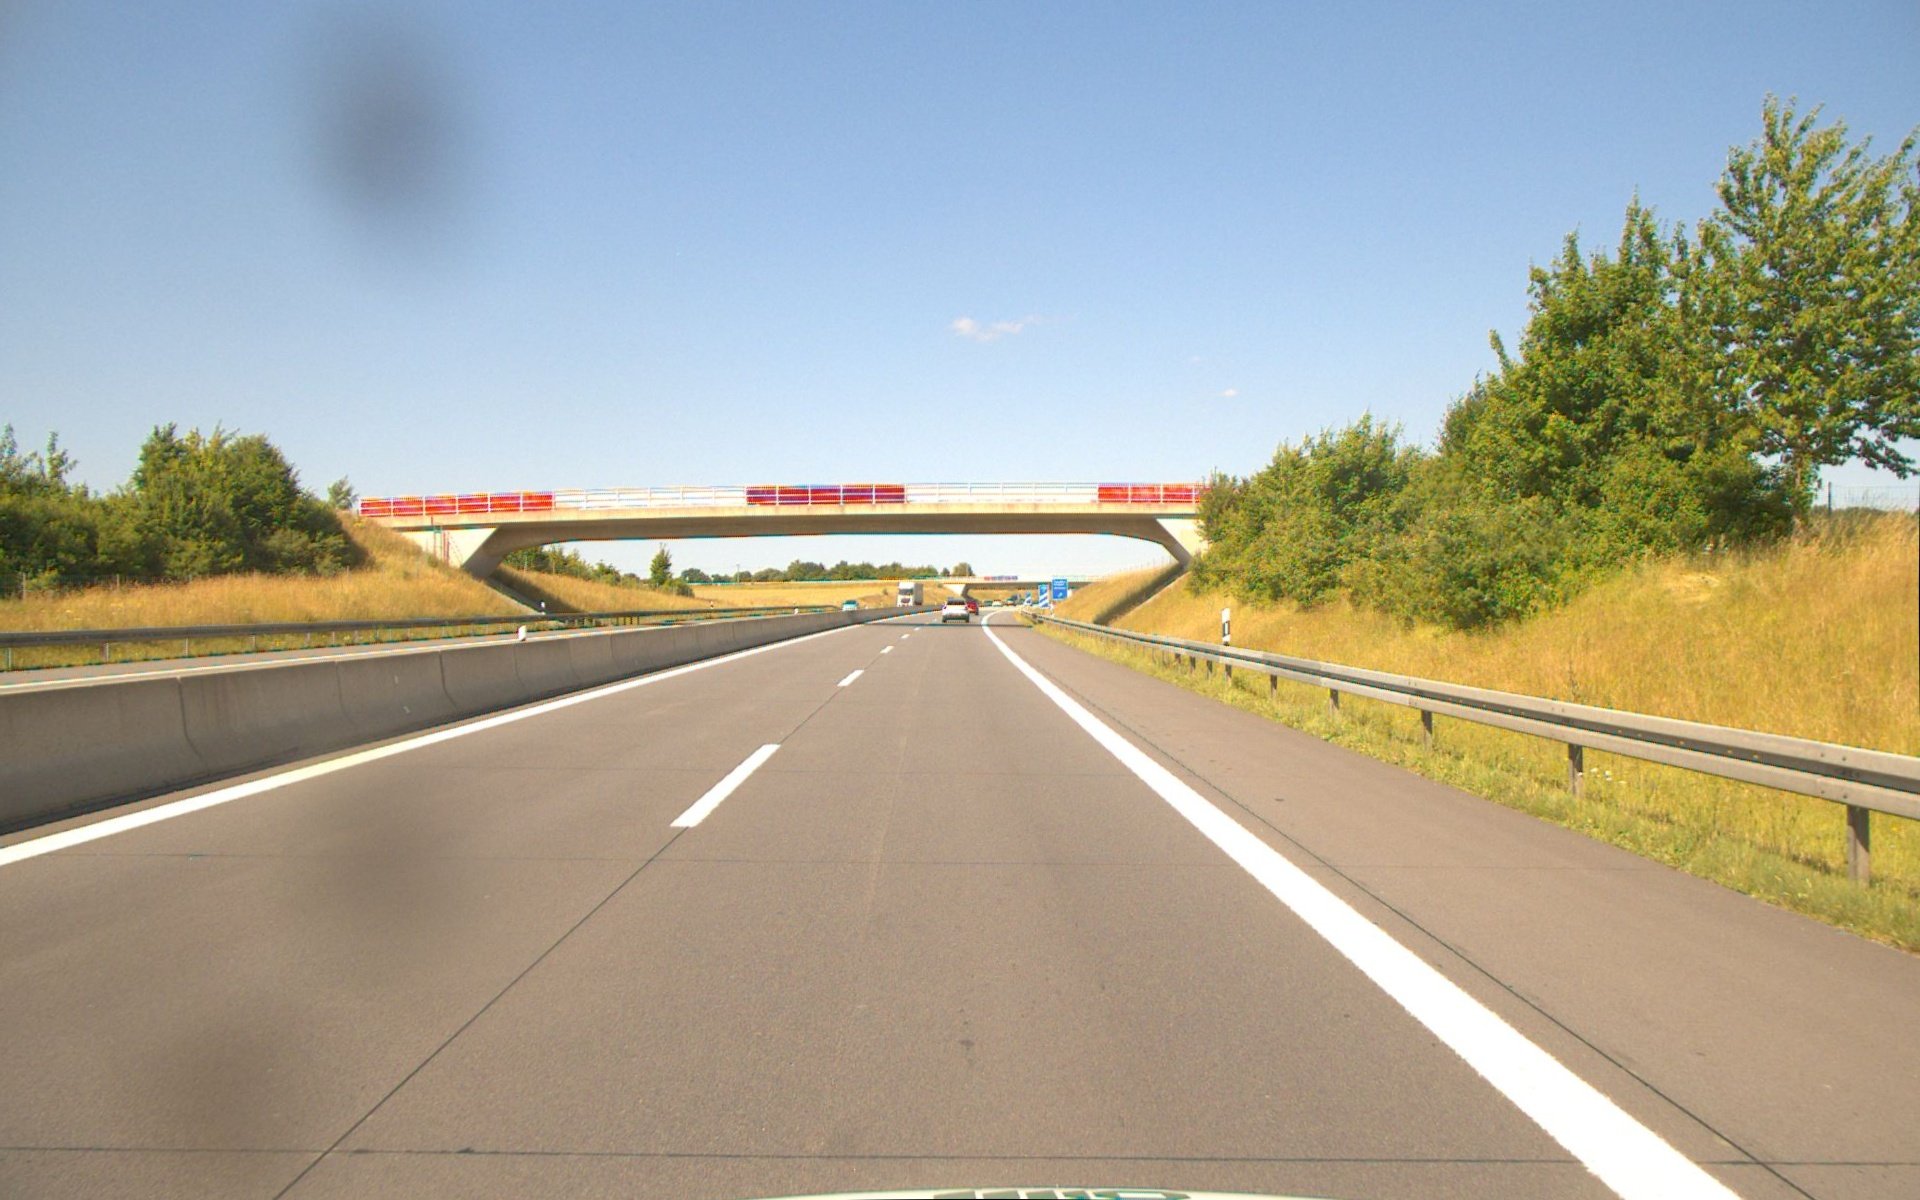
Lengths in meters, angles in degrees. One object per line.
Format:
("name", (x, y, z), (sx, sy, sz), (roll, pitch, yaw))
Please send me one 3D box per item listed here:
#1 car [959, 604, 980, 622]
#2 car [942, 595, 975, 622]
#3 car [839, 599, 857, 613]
("car", (0.966, 1.267, 164.763), (1.952, 1.761, 4.870), (-1, 0, 2))
("car", (-0.114, 0.553, 111.799), (1.954, 1.761, 4.866), (-1, 0, -3))
("car", (-12.469, 0.661, 184.849), (1.625, 1.478, 4.001), (0, 0, 2))
